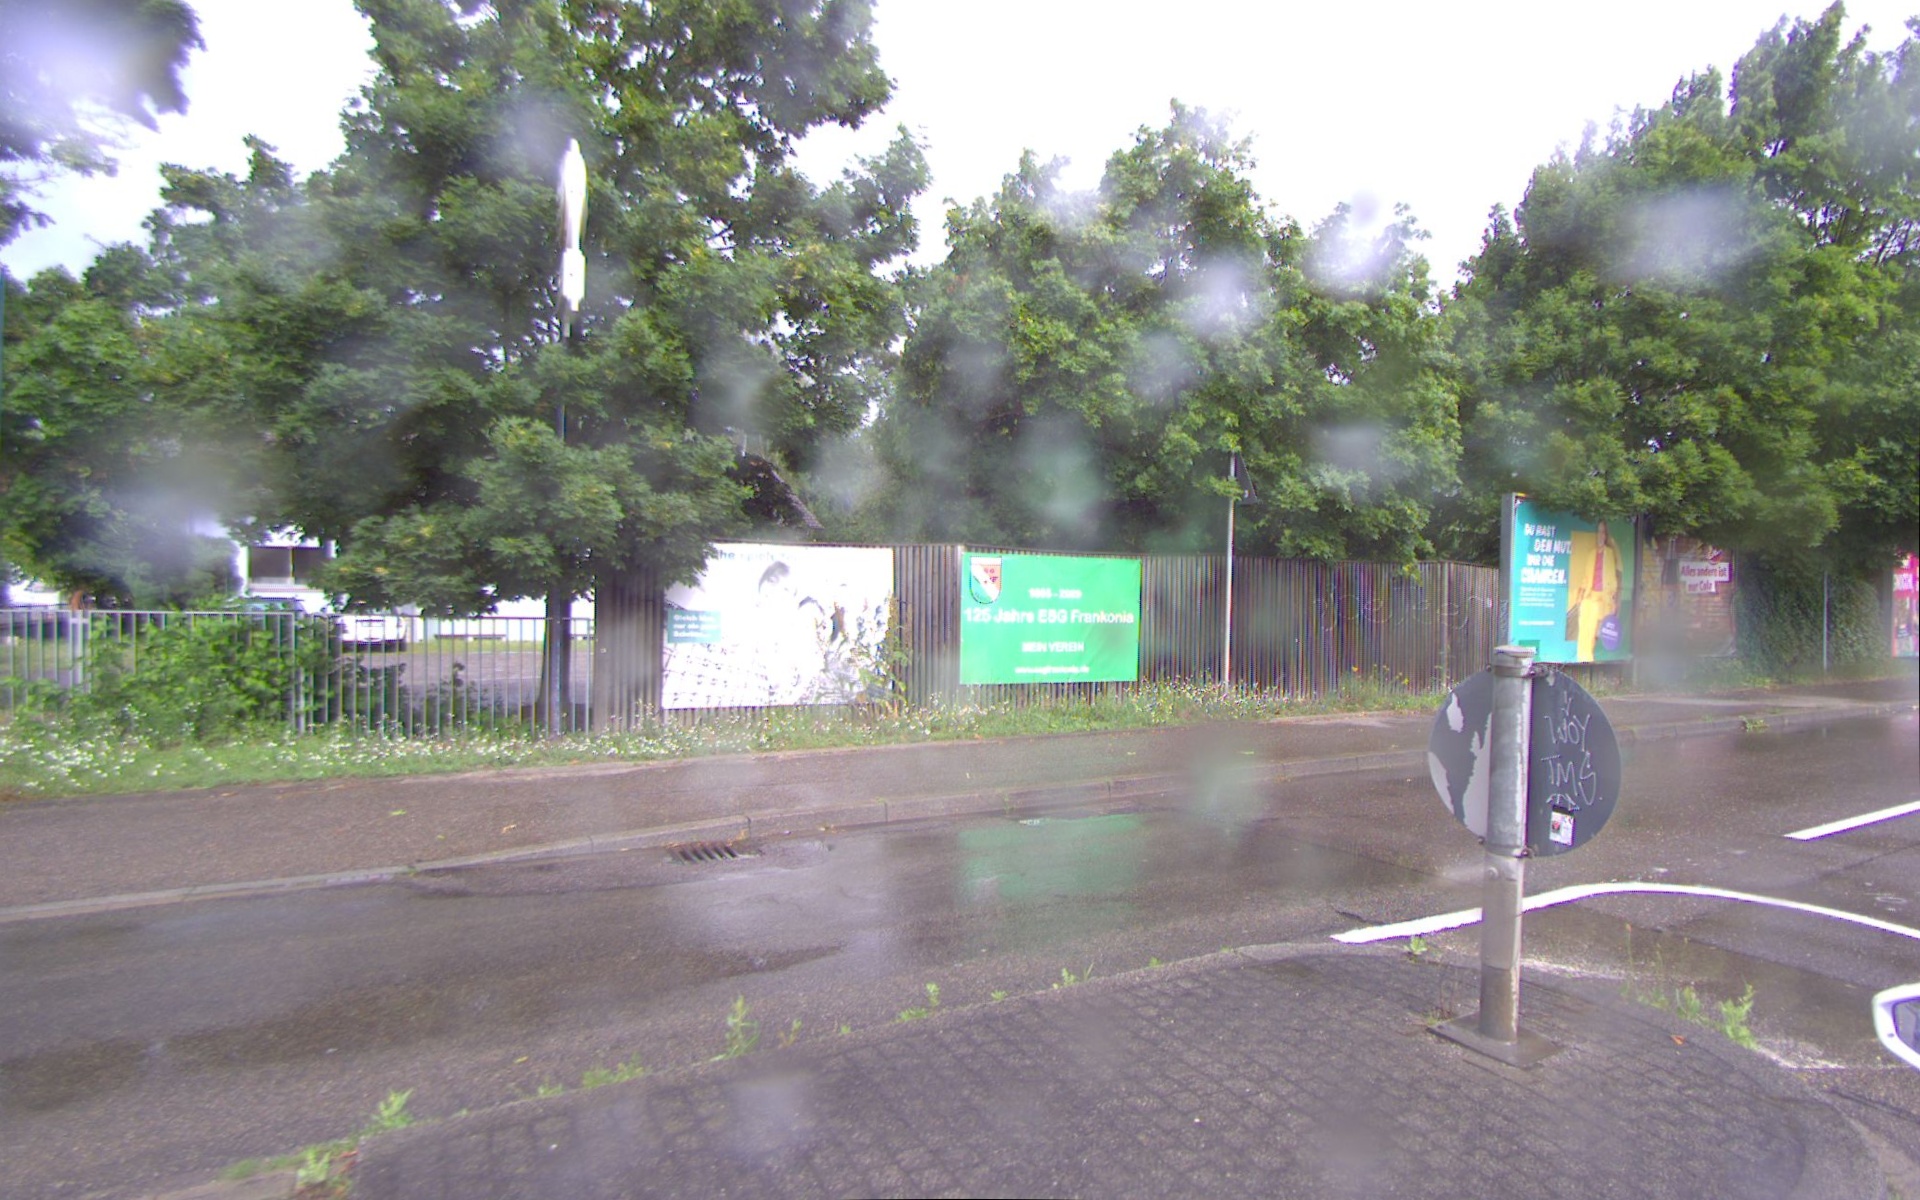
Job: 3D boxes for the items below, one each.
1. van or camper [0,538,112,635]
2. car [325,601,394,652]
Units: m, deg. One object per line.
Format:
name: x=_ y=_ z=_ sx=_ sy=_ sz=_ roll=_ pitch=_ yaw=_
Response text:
van or camper: x=-38.492 y=-0.530 z=42.612 sx=2.621 sy=3.794 sz=5.808 roll=1 pitch=0 yaw=-28
car: x=-16.759 y=0.696 z=28.155 sx=1.371 sy=1.333 sz=3.895 roll=1 pitch=0 yaw=-27
